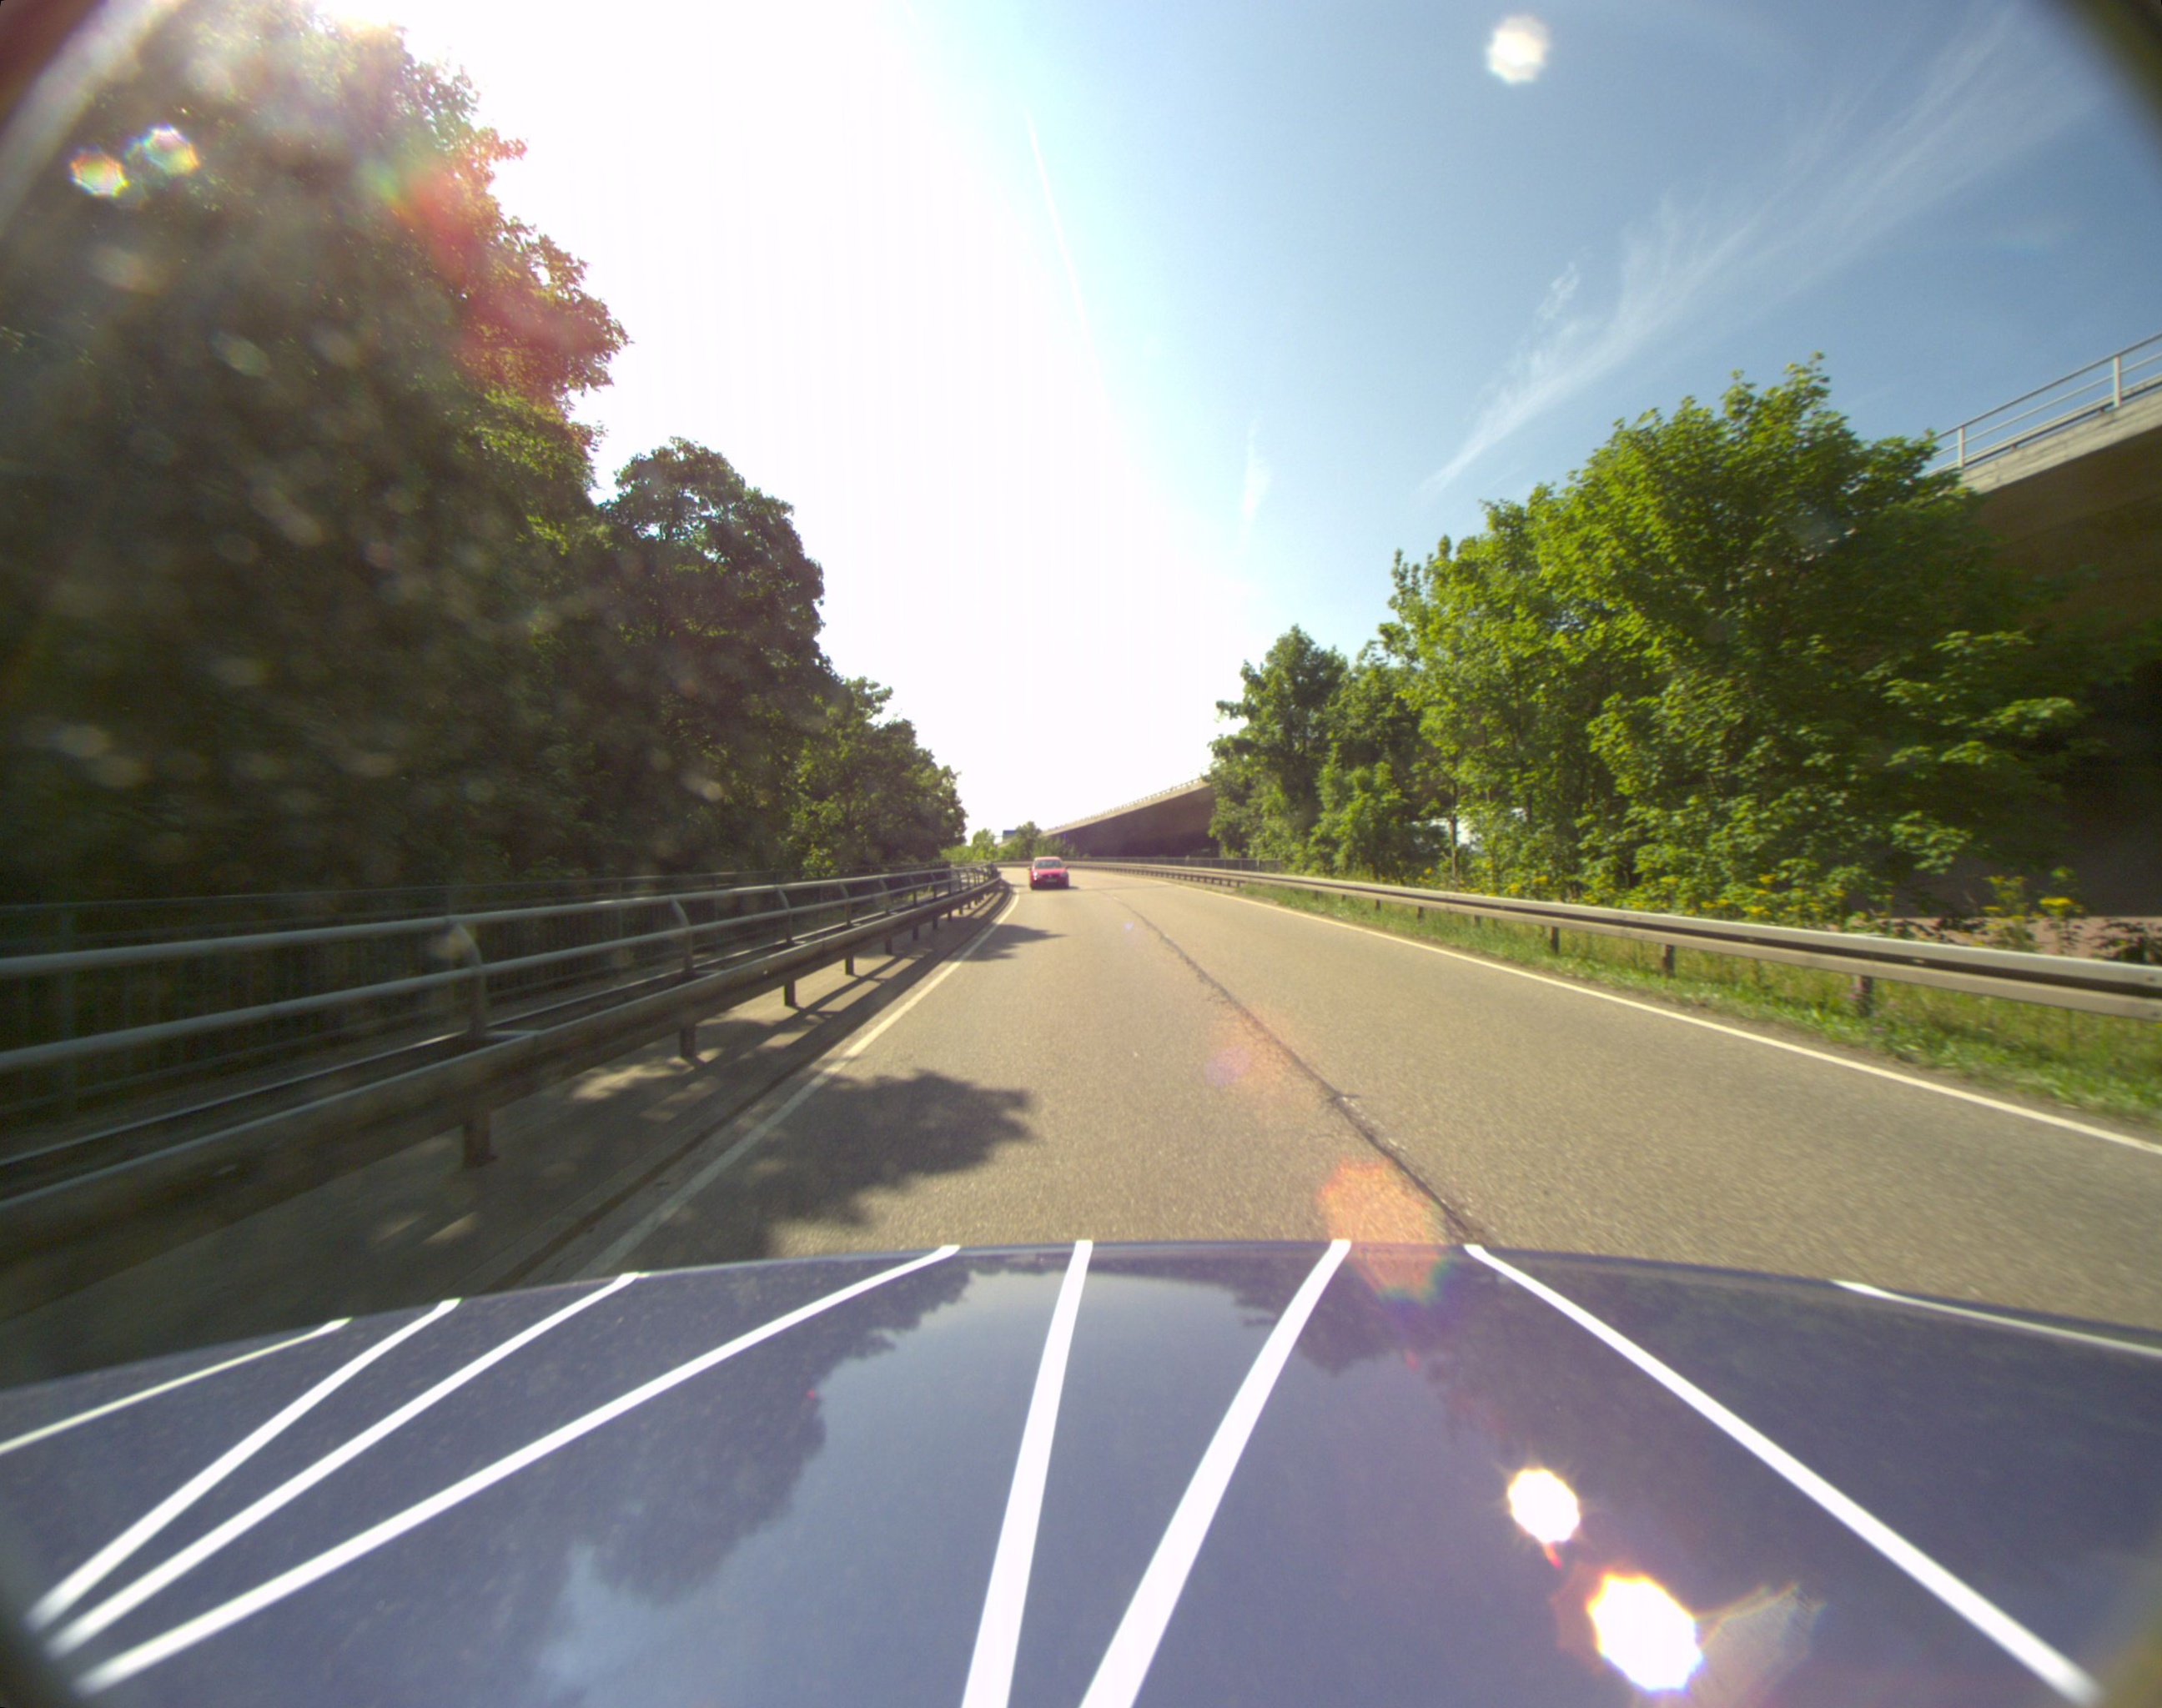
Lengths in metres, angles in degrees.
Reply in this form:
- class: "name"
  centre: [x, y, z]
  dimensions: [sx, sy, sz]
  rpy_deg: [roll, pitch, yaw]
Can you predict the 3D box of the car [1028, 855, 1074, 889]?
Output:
- class: "car"
  centre: [-1.497, 0.834, 36.456]
  dimensions: [1.817, 1.488, 4.283]
  rpy_deg: [-2, 0, -7]
